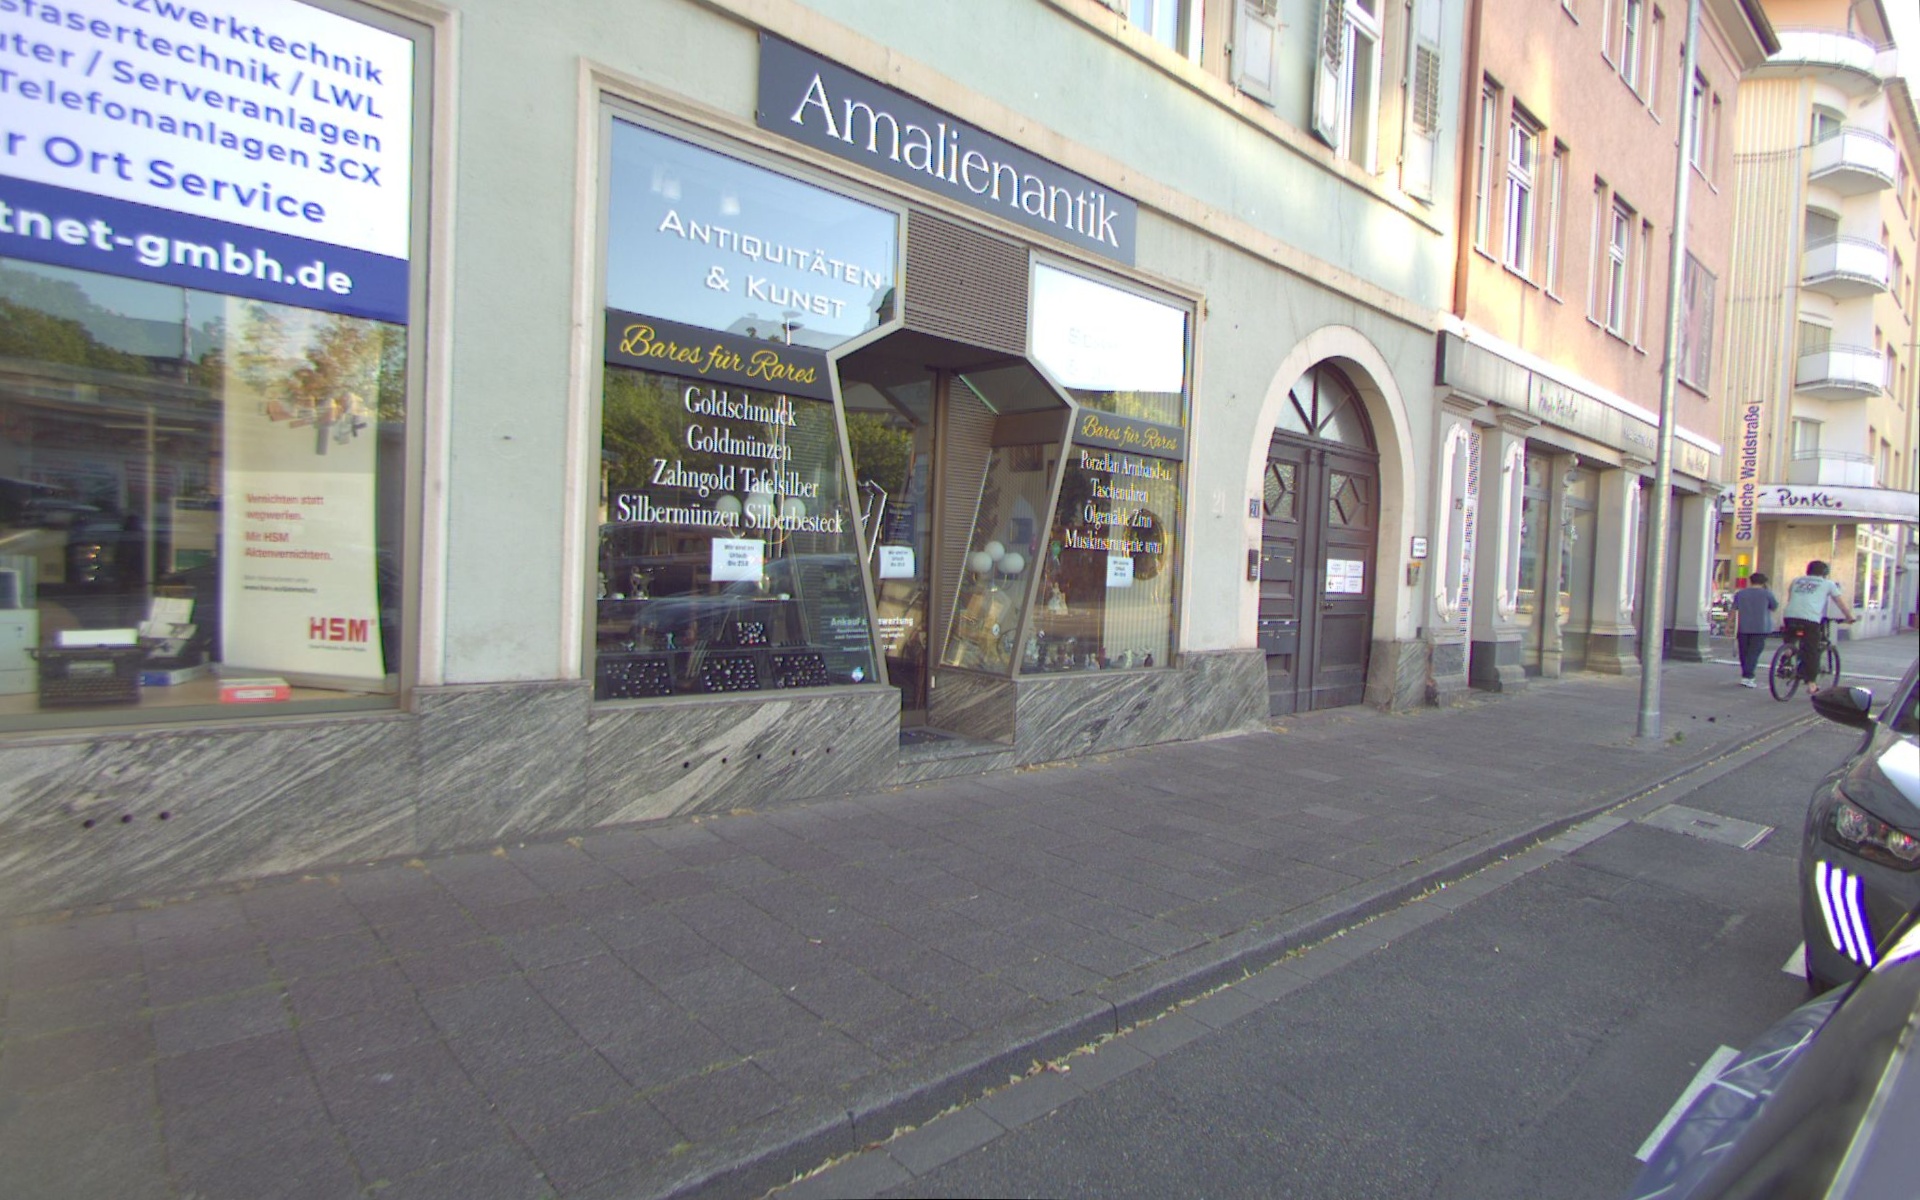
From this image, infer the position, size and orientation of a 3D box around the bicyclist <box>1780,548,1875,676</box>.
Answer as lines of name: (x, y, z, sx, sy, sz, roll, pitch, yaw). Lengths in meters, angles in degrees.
bicyclist: (10.936, 0.133, 12.756, 0.884, 1.526, 0.723, 1, 2, -40)

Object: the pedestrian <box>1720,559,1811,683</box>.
pedestrian: (11.444, 0.279, 14.384, 0.857, 1.662, 0.824, 0, 3, -43)

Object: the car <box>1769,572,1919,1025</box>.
car: (5.095, 0.662, 4.360, 4.375, 1.465, 1.906, 0, 2, -43)

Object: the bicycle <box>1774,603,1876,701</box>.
bicycle: (10.982, 0.612, 12.823, 1.863, 1.121, 0.691, 0, 2, -42)
